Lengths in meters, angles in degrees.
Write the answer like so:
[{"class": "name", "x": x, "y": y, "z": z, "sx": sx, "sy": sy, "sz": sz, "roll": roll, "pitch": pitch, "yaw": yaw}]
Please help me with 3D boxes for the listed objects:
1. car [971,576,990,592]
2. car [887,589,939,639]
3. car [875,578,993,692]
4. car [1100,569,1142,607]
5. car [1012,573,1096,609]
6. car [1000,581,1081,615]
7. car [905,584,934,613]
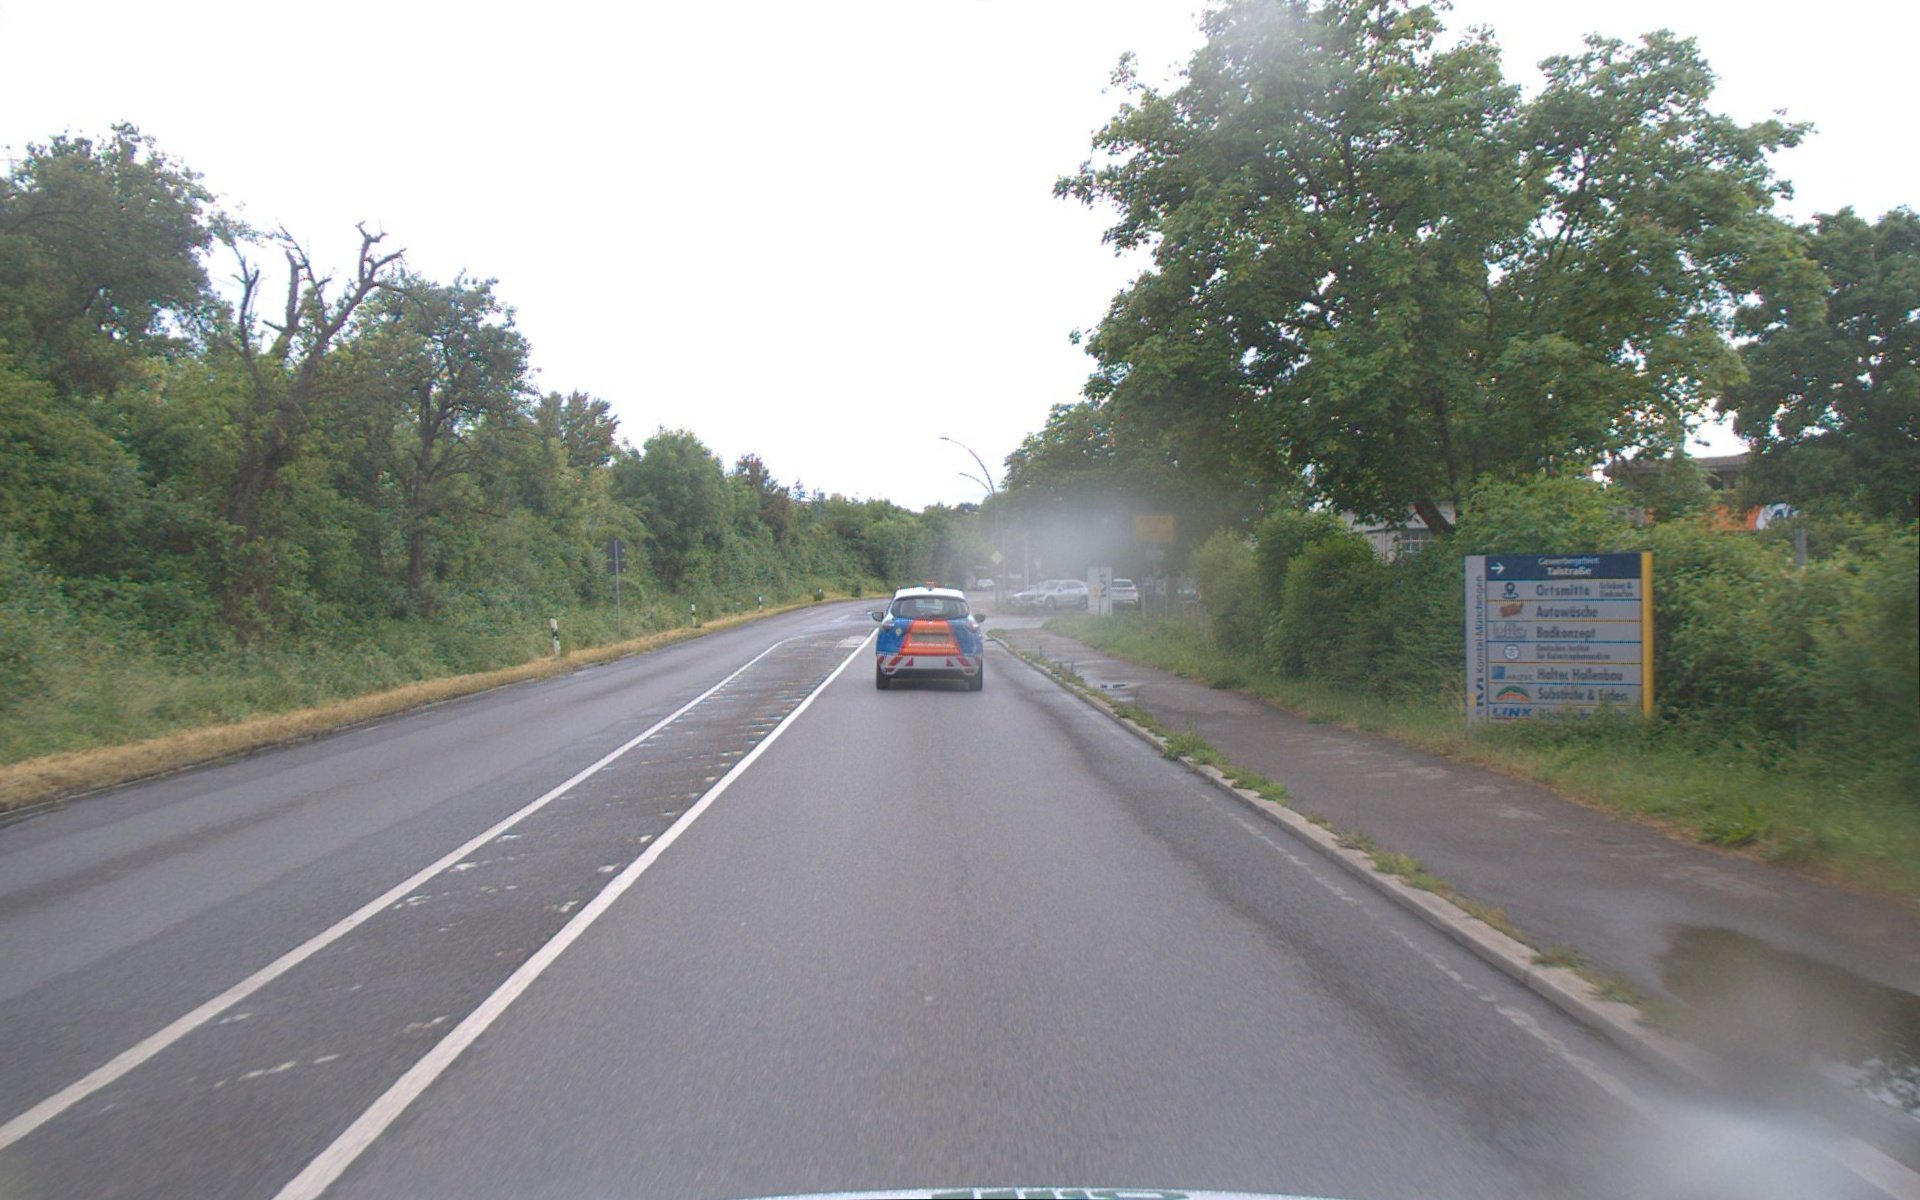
[{"class": "car", "x": 2.531, "y": -1.940, "z": 201.506, "sx": 1.658, "sy": 1.822, "sz": 3.859, "roll": 1, "pitch": 0, "yaw": 11}, {"class": "car", "x": -1.624, "y": 0.462, "z": 56.085, "sx": 1.660, "sy": 1.623, "sz": 3.854, "roll": 1, "pitch": 0, "yaw": -3}, {"class": "car", "x": -0.454, "y": 0.542, "z": 27.108, "sx": 1.769, "sy": 1.697, "sz": 3.854, "roll": 1, "pitch": 0, "yaw": -2}, {"class": "car", "x": 8.257, "y": -0.584, "z": 84.865, "sx": 1.788, "sy": 1.861, "sz": 4.264, "roll": 1, "pitch": 0, "yaw": 1}, {"class": "car", "x": 5.015, "y": -0.463, "z": 87.769, "sx": 2.001, "sy": 1.782, "sz": 4.587, "roll": 1, "pitch": 0, "yaw": 44}, {"class": "car", "x": 4.437, "y": -0.084, "z": 90.652, "sx": 2.000, "sy": 1.782, "sz": 4.587, "roll": -2, "pitch": -2, "yaw": 43}, {"class": "car", "x": -2.631, "y": -0.086, "z": 108.992, "sx": 1.659, "sy": 1.822, "sz": 3.857, "roll": 1, "pitch": 0, "yaw": 2}]
